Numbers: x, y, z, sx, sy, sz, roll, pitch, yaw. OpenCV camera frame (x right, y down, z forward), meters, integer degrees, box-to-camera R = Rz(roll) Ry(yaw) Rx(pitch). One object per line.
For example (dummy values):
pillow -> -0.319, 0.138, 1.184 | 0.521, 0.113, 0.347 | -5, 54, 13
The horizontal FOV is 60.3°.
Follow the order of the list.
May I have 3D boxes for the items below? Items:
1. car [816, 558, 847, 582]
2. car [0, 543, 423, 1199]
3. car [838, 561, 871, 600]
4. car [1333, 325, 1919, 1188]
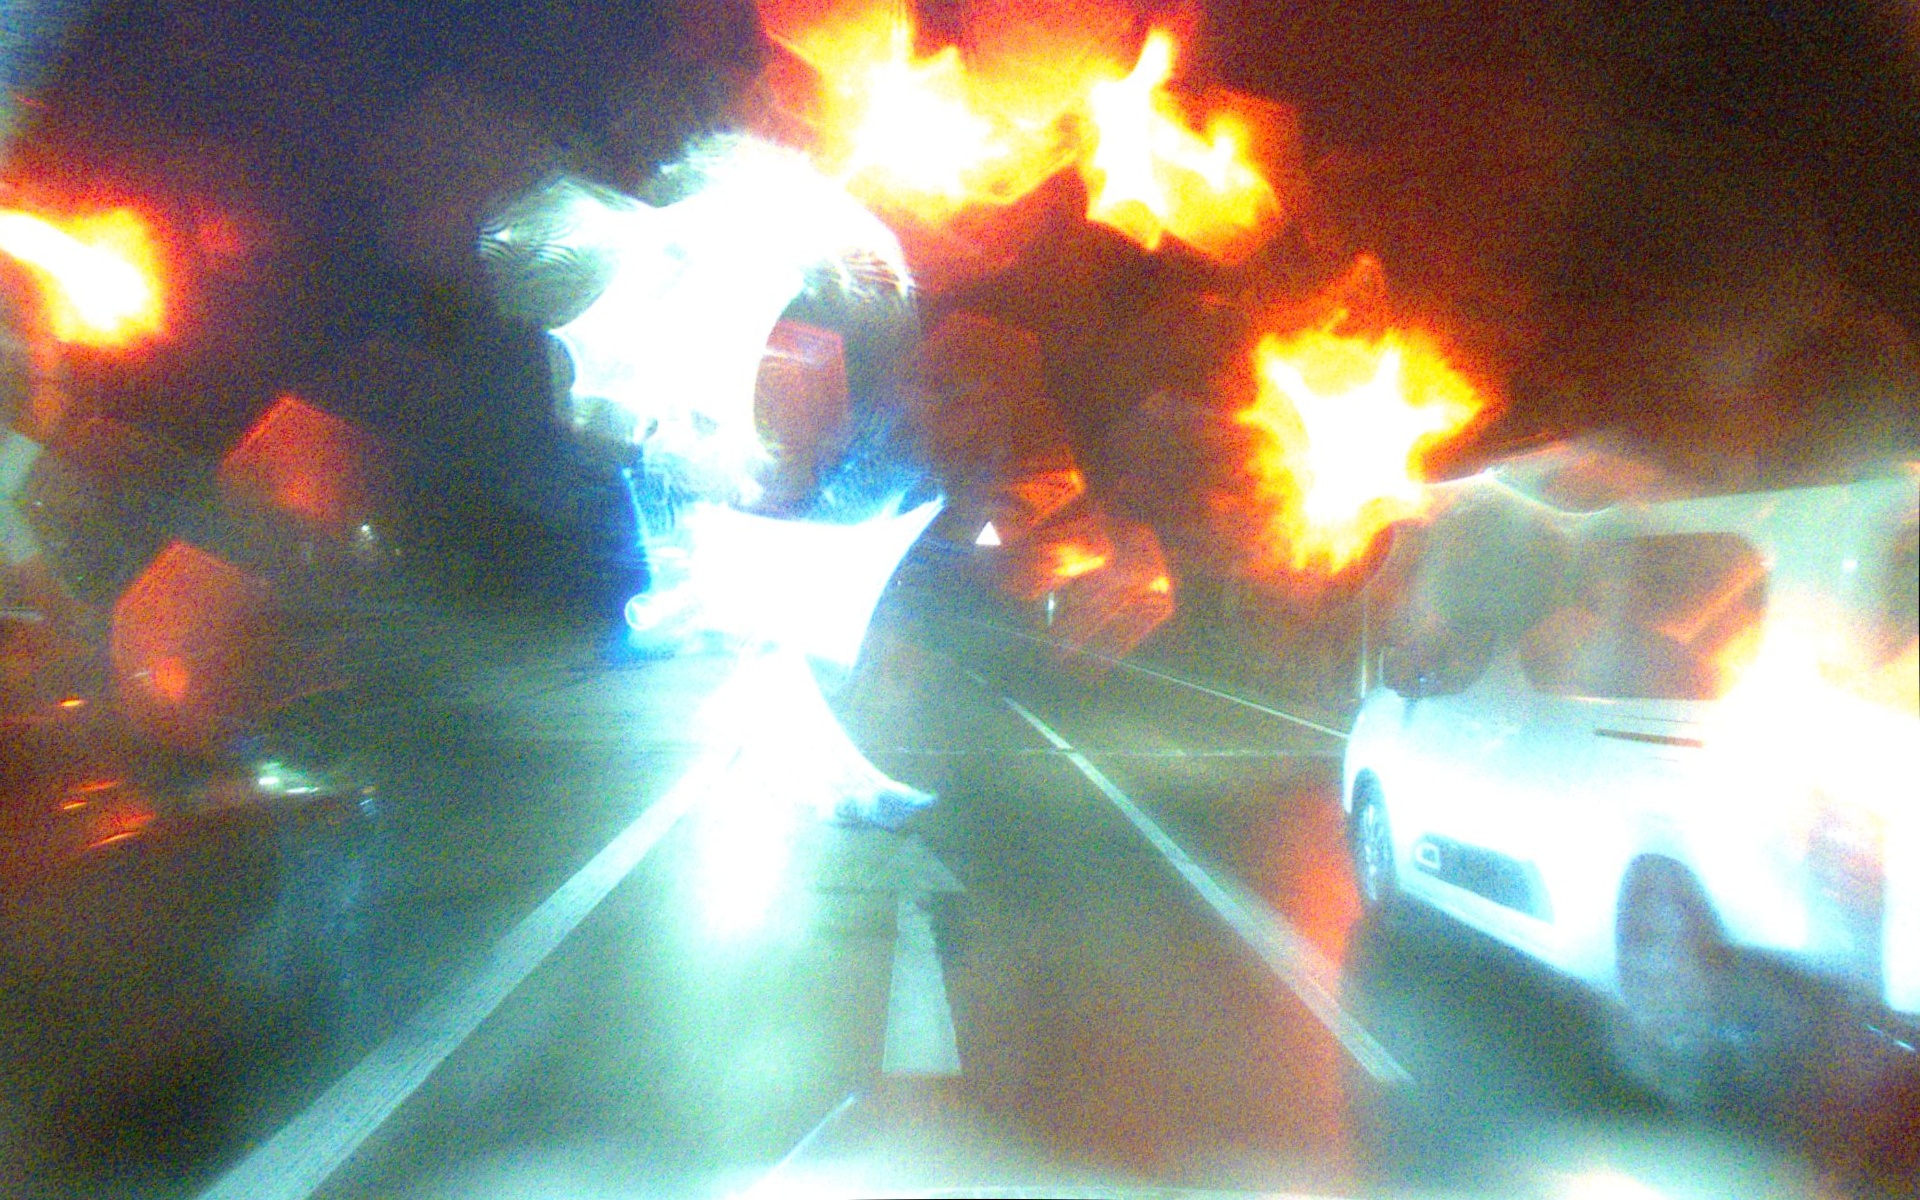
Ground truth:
car -> -10.701, -2.500, 138.151 | 1.952, 1.746, 4.001 | 5, -1, 3
car -> -2.842, 0.656, 3.875 | 1.747, 1.537, 4.435 | 0, 0, -1
car -> -5.840, -1.072, 91.443 | 1.756, 2.057, 4.576 | 1, 0, -4
car -> 2.837, 0.368, 6.256 | 1.755, 2.057, 4.579 | 1, 0, -1
